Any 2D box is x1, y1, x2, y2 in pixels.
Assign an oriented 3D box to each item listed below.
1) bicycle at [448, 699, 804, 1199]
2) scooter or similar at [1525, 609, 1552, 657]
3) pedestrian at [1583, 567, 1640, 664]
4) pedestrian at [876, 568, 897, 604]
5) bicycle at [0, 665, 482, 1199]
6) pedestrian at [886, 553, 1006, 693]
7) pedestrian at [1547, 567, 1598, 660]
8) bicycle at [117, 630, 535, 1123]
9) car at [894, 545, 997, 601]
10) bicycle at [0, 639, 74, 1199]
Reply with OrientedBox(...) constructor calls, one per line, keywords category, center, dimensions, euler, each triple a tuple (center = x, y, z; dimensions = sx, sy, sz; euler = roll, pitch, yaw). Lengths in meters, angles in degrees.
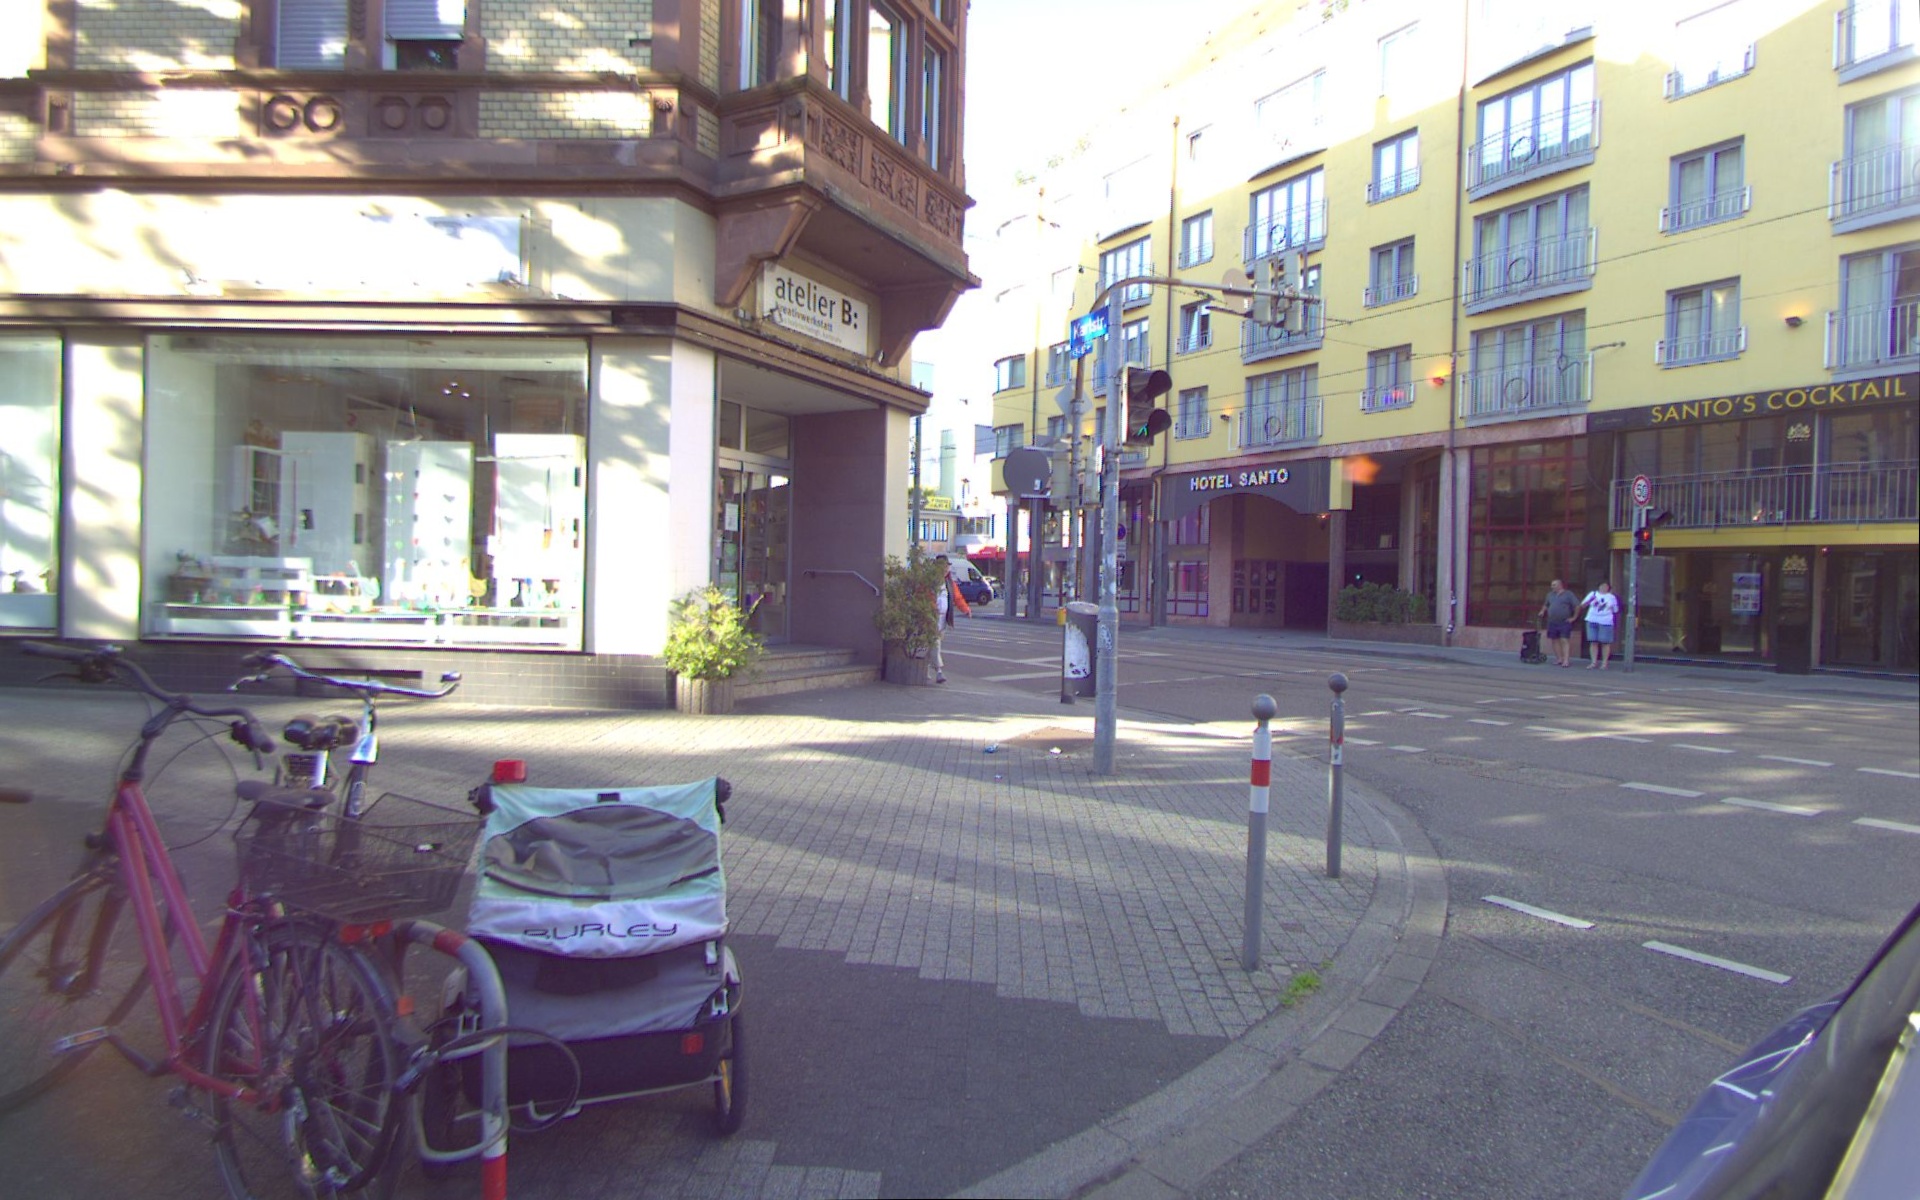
OrientedBox(category="bicycle", center=(-0.876, 0.848, 2.687), dimensions=(0.723, 1.039, 1.002), euler=(1, 1, -19))
OrientedBox(category="scooter or similar", center=(12.275, 0.693, 21.476), dimensions=(0.415, 0.989, 0.357), euler=(-3, 3, -34))
OrientedBox(category="pedestrian", center=(13.072, 0.285, 20.299), dimensions=(0.713, 1.862, 0.736), euler=(-3, 3, -32))
OrientedBox(category="pedestrian", center=(-3.534, -0.660, 48.562), dimensions=(0.712, 1.716, 0.690), euler=(1, 1, -34))
OrientedBox(category="bicycle", center=(-1.733, 0.785, 2.349), dimensions=(1.467, 1.106, 0.420), euler=(3, 4, 33))
OrientedBox(category="pedestrian", center=(-0.175, 0.263, 13.090), dimensions=(1.165, 1.701, 0.996), euler=(2, 1, 33))
OrientedBox(category="pedestrian", center=(12.805, 0.265, 21.160), dimensions=(0.713, 1.862, 0.679), euler=(-3, 3, -32))
OrientedBox(category="bicycle", center=(-2.024, 0.716, 3.180), dimensions=(1.468, 1.106, 0.567), euler=(3, 4, 35))
OrientedBox(category="car", center=(-0.766, -1.384, 53.670), dimensions=(5.046, 2.792, 2.062), euler=(1, 1, -31))
OrientedBox(category="bicycle", center=(-2.453, 0.745, 2.330), dimensions=(0.417, 1.106, 1.937), euler=(-2, 5, -36))
